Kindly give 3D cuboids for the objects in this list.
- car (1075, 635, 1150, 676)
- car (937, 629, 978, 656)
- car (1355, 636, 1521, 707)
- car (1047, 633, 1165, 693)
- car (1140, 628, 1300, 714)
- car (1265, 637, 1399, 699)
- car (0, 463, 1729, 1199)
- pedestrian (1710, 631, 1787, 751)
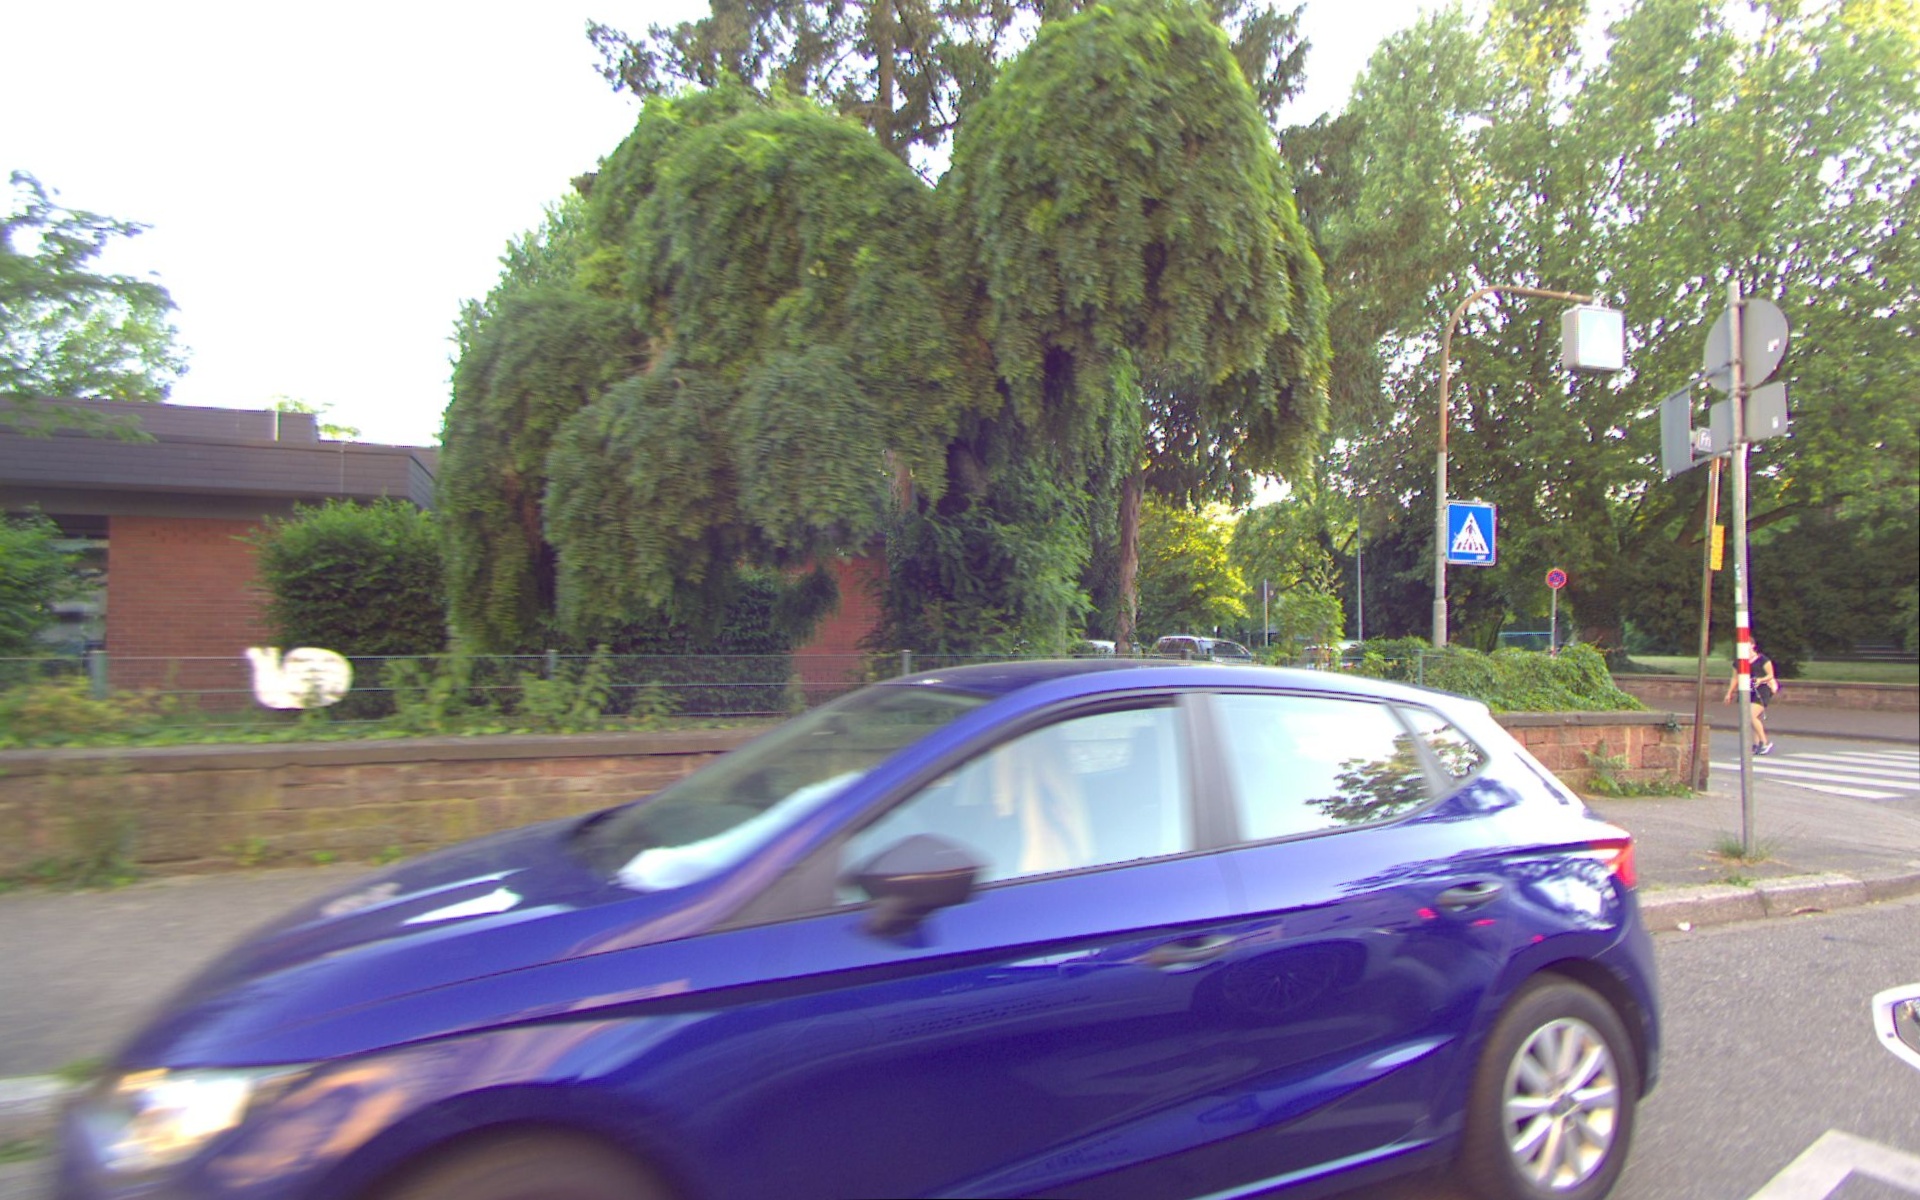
[{"bbox_3d":[6.836,2.505,45.517,1.793,1.624,3.871,-6,-1,-16],"label":"car"},{"bbox_3d":[-0.224,3.018,70.822,1.793,1.624,3.871,-6,-1,-16],"label":"car"},{"bbox_3d":[12.293,1.801,26.132,1.792,1.511,3.856,-6,-1,-13],"label":"car"},{"bbox_3d":[4.226,1.873,29.848,1.794,1.565,4.228,4,-4,-17],"label":"car"},{"bbox_3d":[6.203,1.713,24.449,1.794,1.821,4.228,4,-4,-17],"label":"car"},{"bbox_3d":[11.309,2.050,30.807,1.793,1.583,3.871,-6,-1,-16],"label":"car"},{"bbox_3d":[0.089,0.679,2.893,3.736,1.587,1.730,1,-3,-23],"label":"car"},{"bbox_3d":[11.368,1.289,14.494,0.664,1.671,0.645,0,0,-24],"label":"pedestrian"}]
